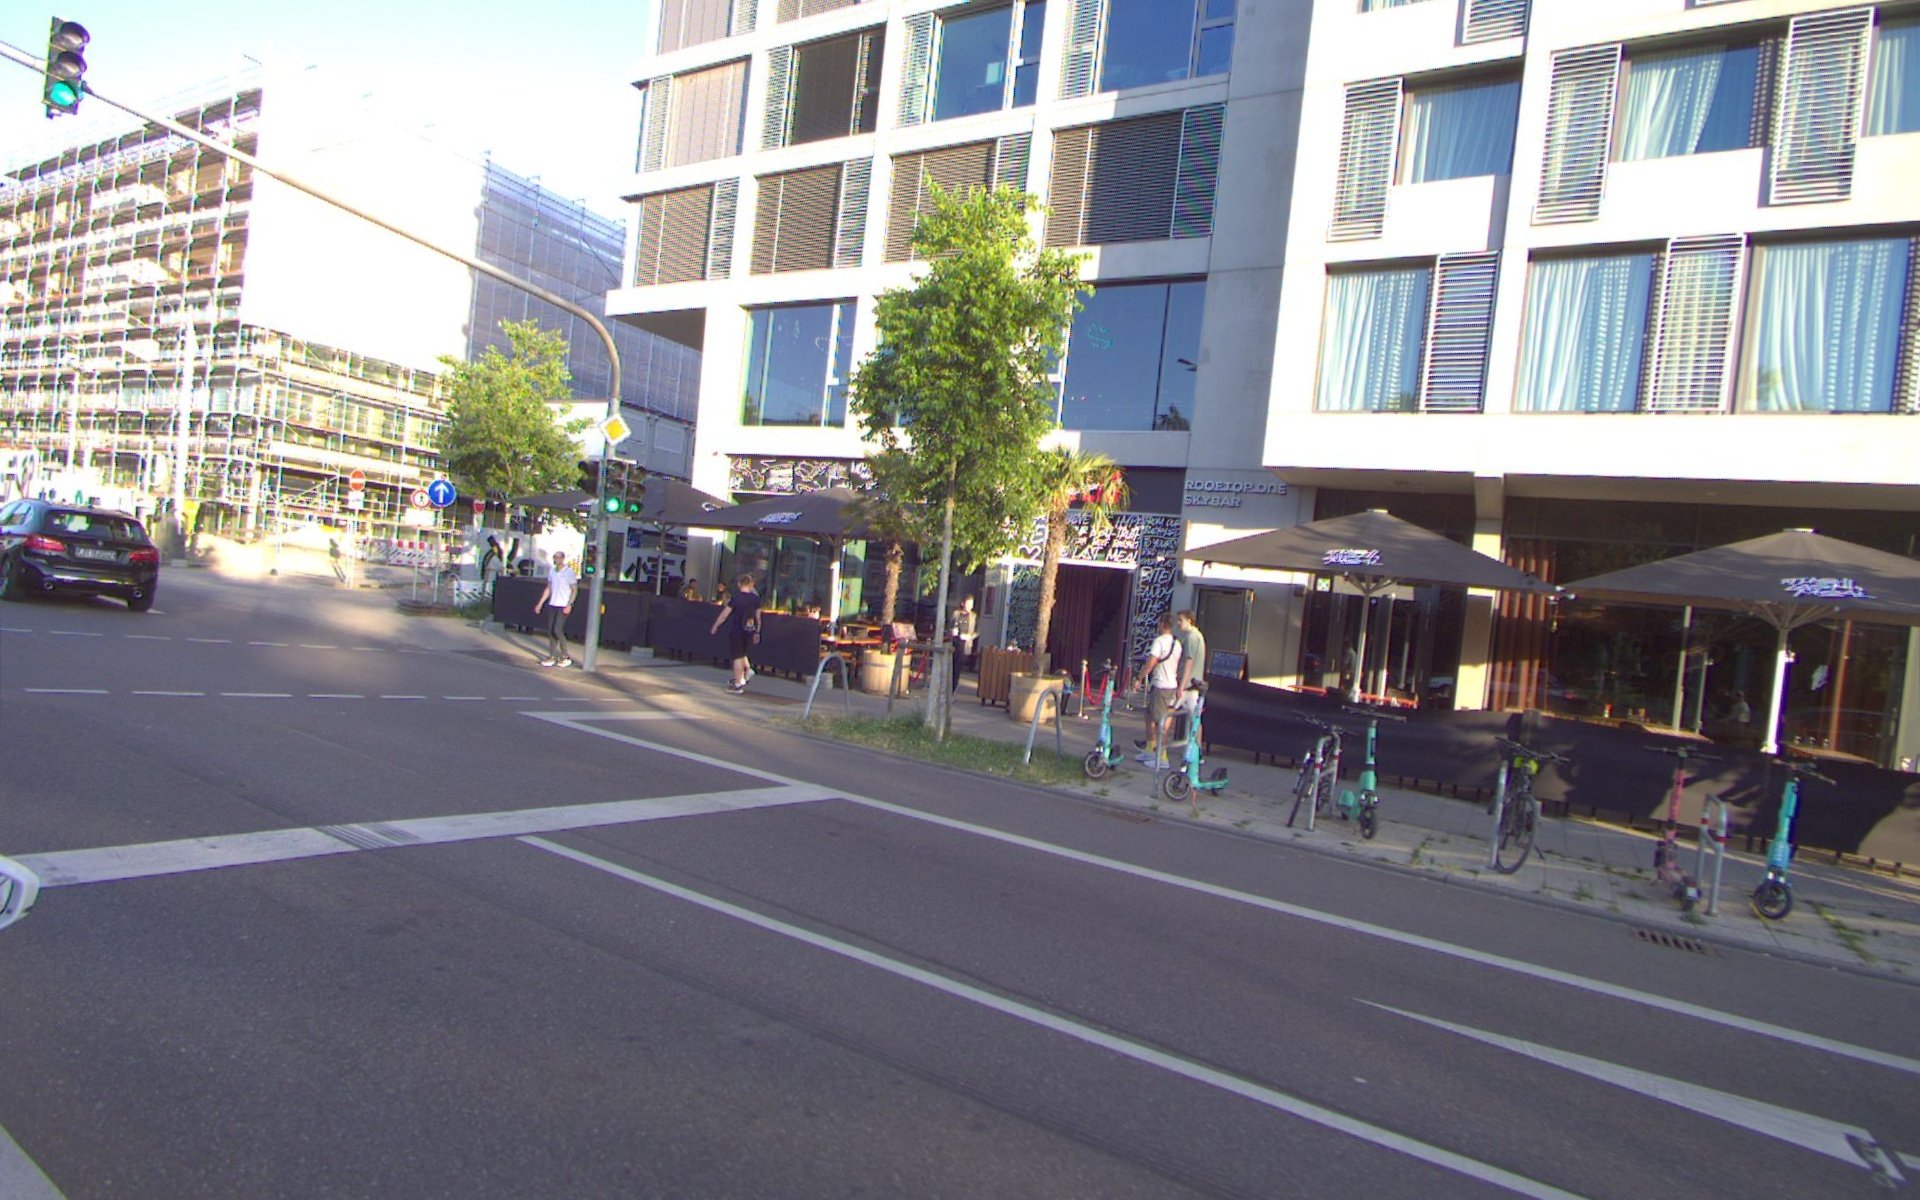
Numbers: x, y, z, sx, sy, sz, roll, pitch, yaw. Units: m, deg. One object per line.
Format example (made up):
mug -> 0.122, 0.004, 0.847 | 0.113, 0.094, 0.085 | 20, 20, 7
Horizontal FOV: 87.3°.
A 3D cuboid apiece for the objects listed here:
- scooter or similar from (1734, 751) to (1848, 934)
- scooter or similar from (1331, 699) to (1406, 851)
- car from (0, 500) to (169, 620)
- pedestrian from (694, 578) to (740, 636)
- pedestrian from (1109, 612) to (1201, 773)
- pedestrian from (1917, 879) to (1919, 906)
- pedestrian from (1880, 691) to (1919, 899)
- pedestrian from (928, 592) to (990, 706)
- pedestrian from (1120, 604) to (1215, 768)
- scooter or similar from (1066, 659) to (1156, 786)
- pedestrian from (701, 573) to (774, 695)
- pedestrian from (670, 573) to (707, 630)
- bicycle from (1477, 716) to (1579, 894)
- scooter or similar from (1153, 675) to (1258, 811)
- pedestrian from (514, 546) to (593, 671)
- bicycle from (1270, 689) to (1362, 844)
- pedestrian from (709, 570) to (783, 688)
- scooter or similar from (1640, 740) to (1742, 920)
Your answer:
scooter or similar -> 6.731, 1.911, 8.132 | 1.124, 1.229, 0.525 | 3, 2, -45
scooter or similar -> 3.919, 1.623, 9.615 | 0.471, 1.218, 1.211 | 7, 3, 25
car -> -14.849, -0.750, 16.404 | 4.719, 1.536, 1.821 | 6, -1, 37
pedestrian -> -5.903, 0.179, 24.435 | 0.704, 1.337, 0.743 | 8, 4, 43
pedestrian -> 2.341, 1.080, 12.084 | 0.815, 1.810, 0.576 | 5, 2, 28
pedestrian -> 8.643, 1.750, 8.244 | 0.927, 1.874, 0.742 | 7, 4, 39
pedestrian -> 9.030, 1.803, 9.150 | 0.765, 1.837, 0.617 | 7, 4, 39
pedestrian -> -0.009, 0.768, 16.139 | 0.567, 1.726, 0.855 | 6, 2, 21
pedestrian -> 2.626, 1.052, 12.688 | 0.851, 1.913, 0.825 | 5, 2, 26
scooter or similar -> 1.692, 1.331, 11.213 | 0.588, 1.240, 1.053 | 7, 3, 26
pedestrian -> -3.323, 0.500, 15.038 | 0.677, 1.725, 0.654 | 7, 3, 30
pedestrian -> -6.715, 0.034, 24.876 | 0.610, 1.337, 0.613 | 2, 4, -42
bicycle -> 5.044, 1.744, 8.955 | 0.598, 1.197, 1.847 | 7, 2, 29
scooter or similar -> 2.543, 1.441, 10.390 | 0.542, 1.240, 1.059 | 7, 3, 39
pedestrian -> -6.449, 0.131, 15.978 | 0.756, 1.871, 0.678 | 6, 2, 11
bicycle -> 3.541, 1.573, 9.916 | 0.557, 1.209, 1.796 | 7, 2, 25
pedestrian -> -3.387, 0.449, 15.920 | 0.748, 1.758, 0.685 | 7, 3, 30
scooter or similar -> 5.956, 1.831, 8.243 | 0.501, 1.207, 1.156 | 5, 2, 32
